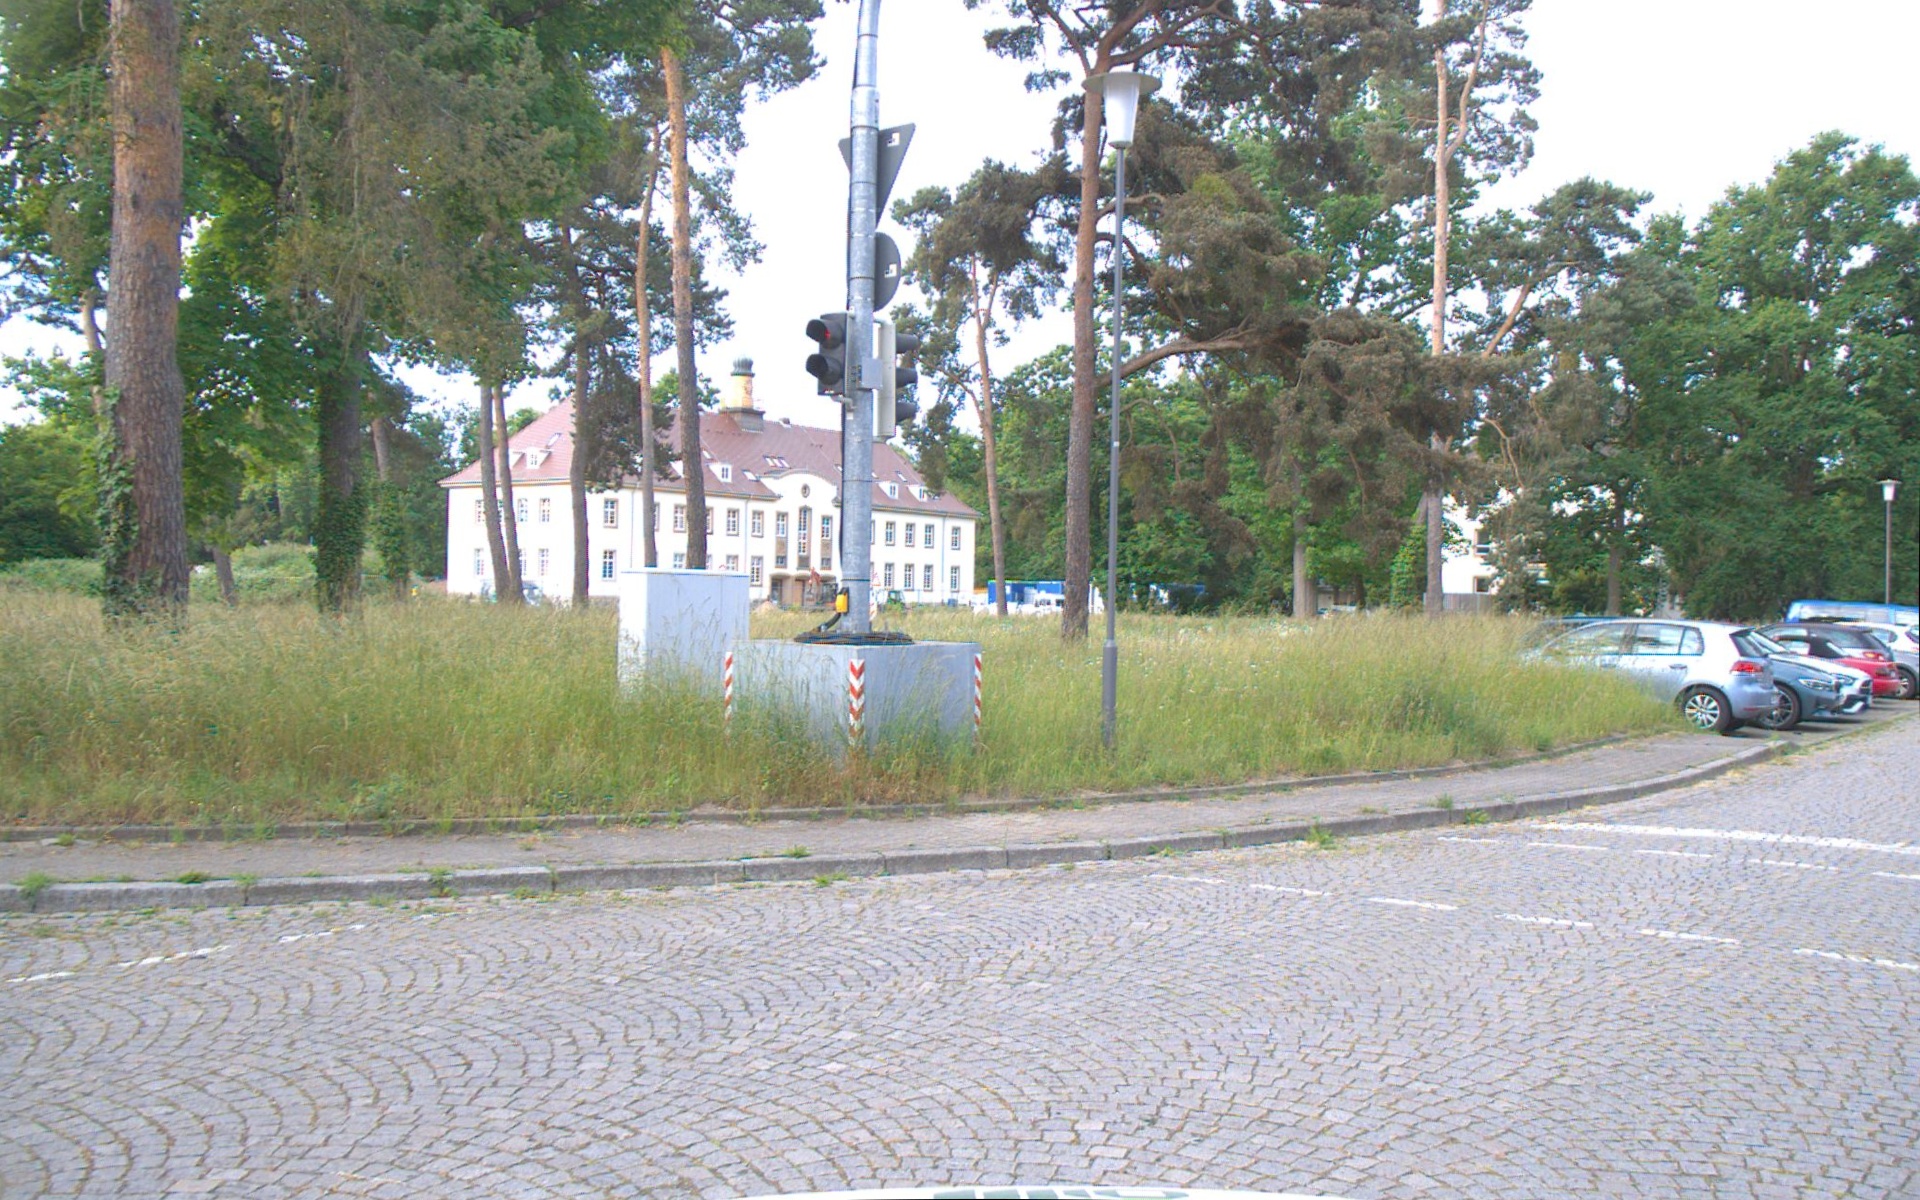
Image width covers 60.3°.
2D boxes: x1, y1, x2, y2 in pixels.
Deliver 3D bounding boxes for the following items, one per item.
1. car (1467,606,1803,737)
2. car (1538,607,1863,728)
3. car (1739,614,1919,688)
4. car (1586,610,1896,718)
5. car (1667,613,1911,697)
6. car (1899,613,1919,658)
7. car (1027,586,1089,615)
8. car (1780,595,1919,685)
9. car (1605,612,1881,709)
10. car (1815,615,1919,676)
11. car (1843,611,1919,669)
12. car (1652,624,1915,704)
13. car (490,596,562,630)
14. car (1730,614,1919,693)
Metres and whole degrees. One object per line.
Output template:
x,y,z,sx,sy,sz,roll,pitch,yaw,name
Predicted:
9.205,0.909,22.648,3.920,1.570,1.898,1,0,36,car
11.019,0.936,24.682,4.176,1.575,1.930,1,0,34,car
20.087,1.129,37.602,4.003,1.523,1.837,1,0,38,car
12.648,0.972,26.876,4.300,1.534,1.929,1,0,35,car
16.546,1.048,33.081,4.099,1.508,1.837,1,0,38,car
34.806,1.265,57.123,3.987,1.552,1.898,1,0,36,car
7.445,0.041,125.065,1.962,2.049,5.203,1,-1,39,car
23.447,0.990,41.668,4.703,2.159,2.107,1,0,37,car
13.679,1.000,28.969,4.097,1.502,1.857,1,0,37,car
25.011,1.201,43.715,4.095,1.536,1.775,1,0,35,car
28.542,1.179,48.905,4.094,1.650,1.980,1,0,35,car
15.263,1.139,30.729,4.100,1.289,1.822,1,0,39,car
-30.736,0.908,117.120,4.928,2.238,1.996,1,0,30,car
18.710,1.091,34.981,4.100,1.517,1.855,1,0,39,car
